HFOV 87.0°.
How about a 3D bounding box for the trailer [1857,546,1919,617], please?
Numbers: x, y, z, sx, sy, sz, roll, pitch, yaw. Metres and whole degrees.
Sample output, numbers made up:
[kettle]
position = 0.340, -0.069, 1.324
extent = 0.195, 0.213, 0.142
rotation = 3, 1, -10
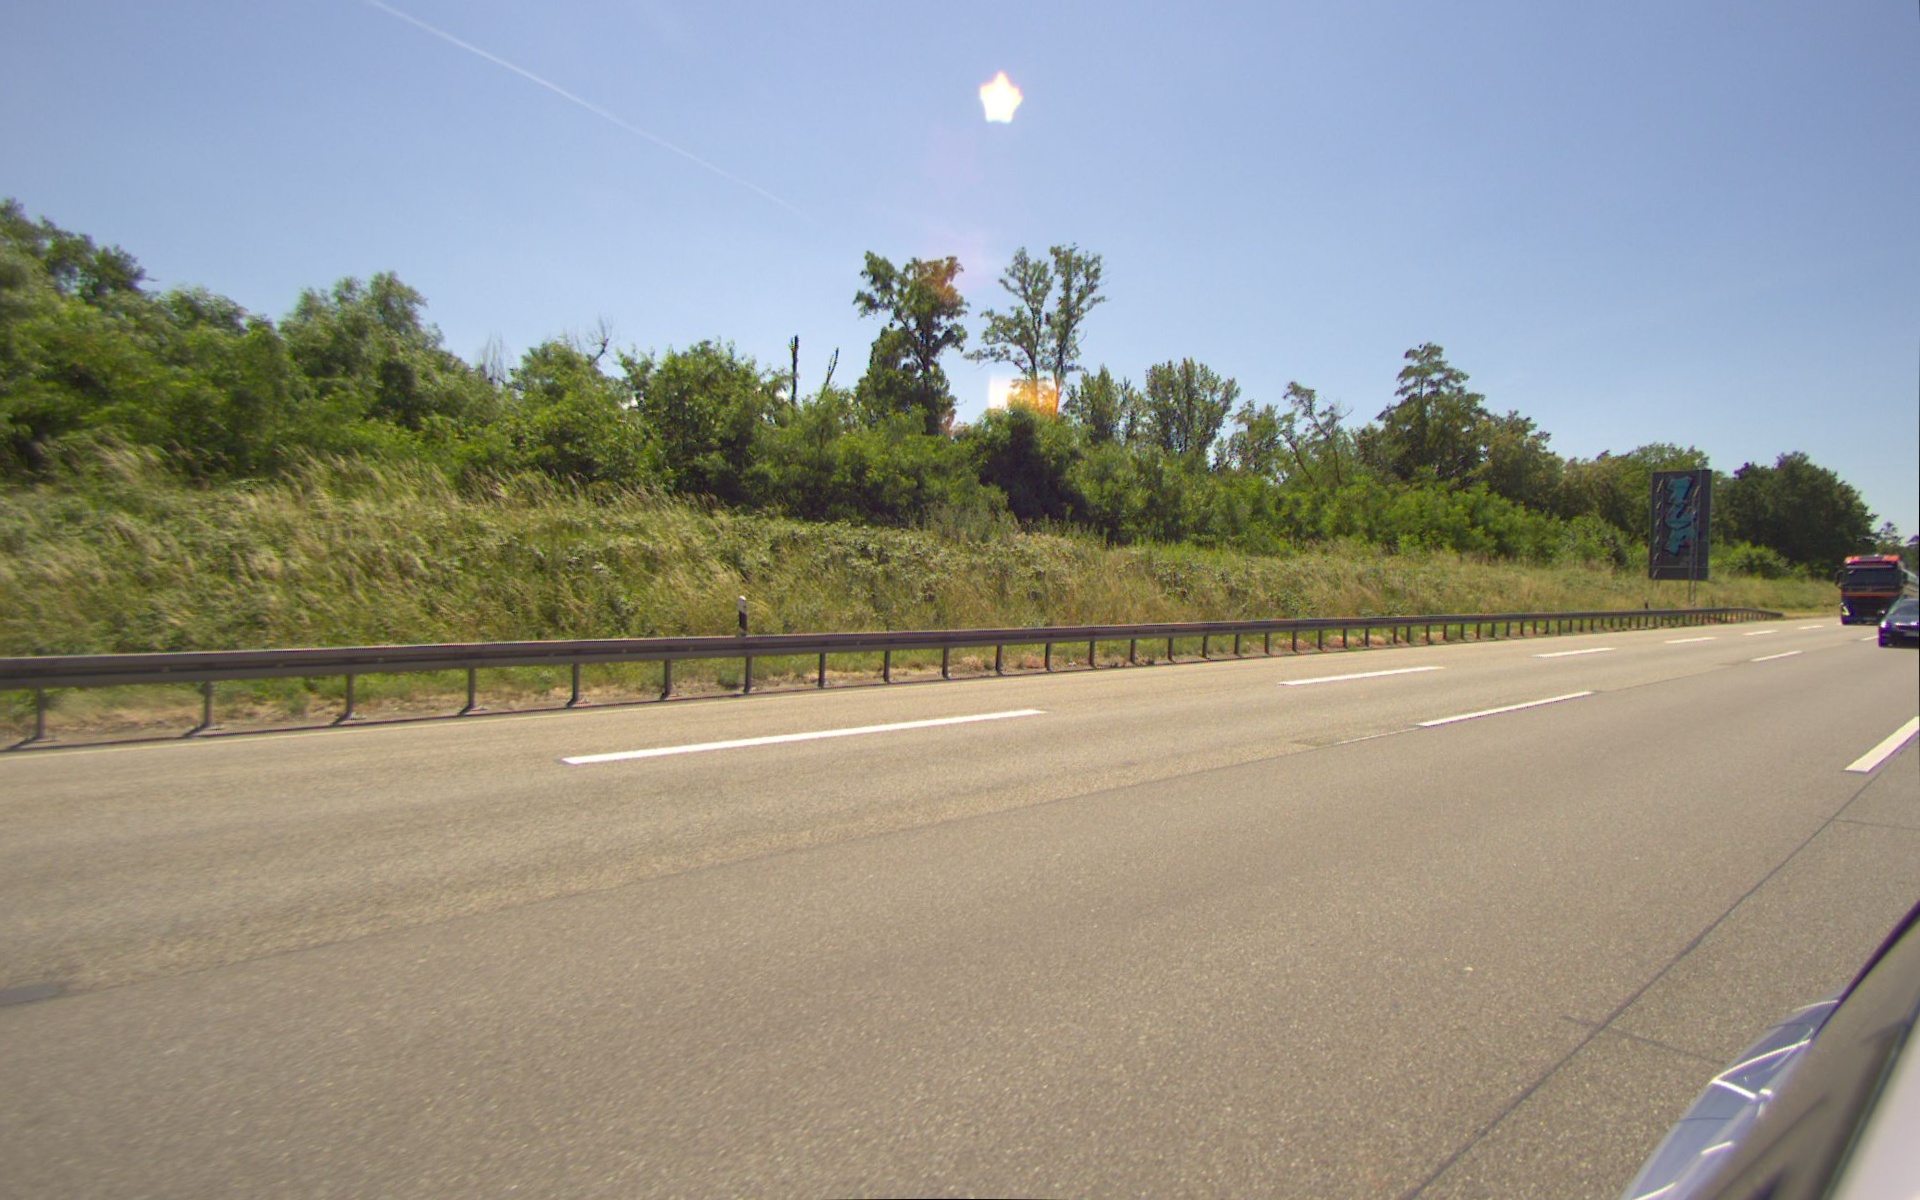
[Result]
[trailer]
position = 54.793, -1.007, 58.880
extent = 11.349, 3.781, 2.533
rotation = 0, 0, -42

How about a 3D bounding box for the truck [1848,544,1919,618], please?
[truck]
position = 50.345, -0.983, 54.929
extent = 5.993, 3.781, 2.533
rotation = 0, 0, -42

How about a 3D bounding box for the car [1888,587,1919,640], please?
[car]
position = 29.214, 0.378, 30.247
extent = 4.199, 1.502, 1.804
rotation = 0, 0, -42
